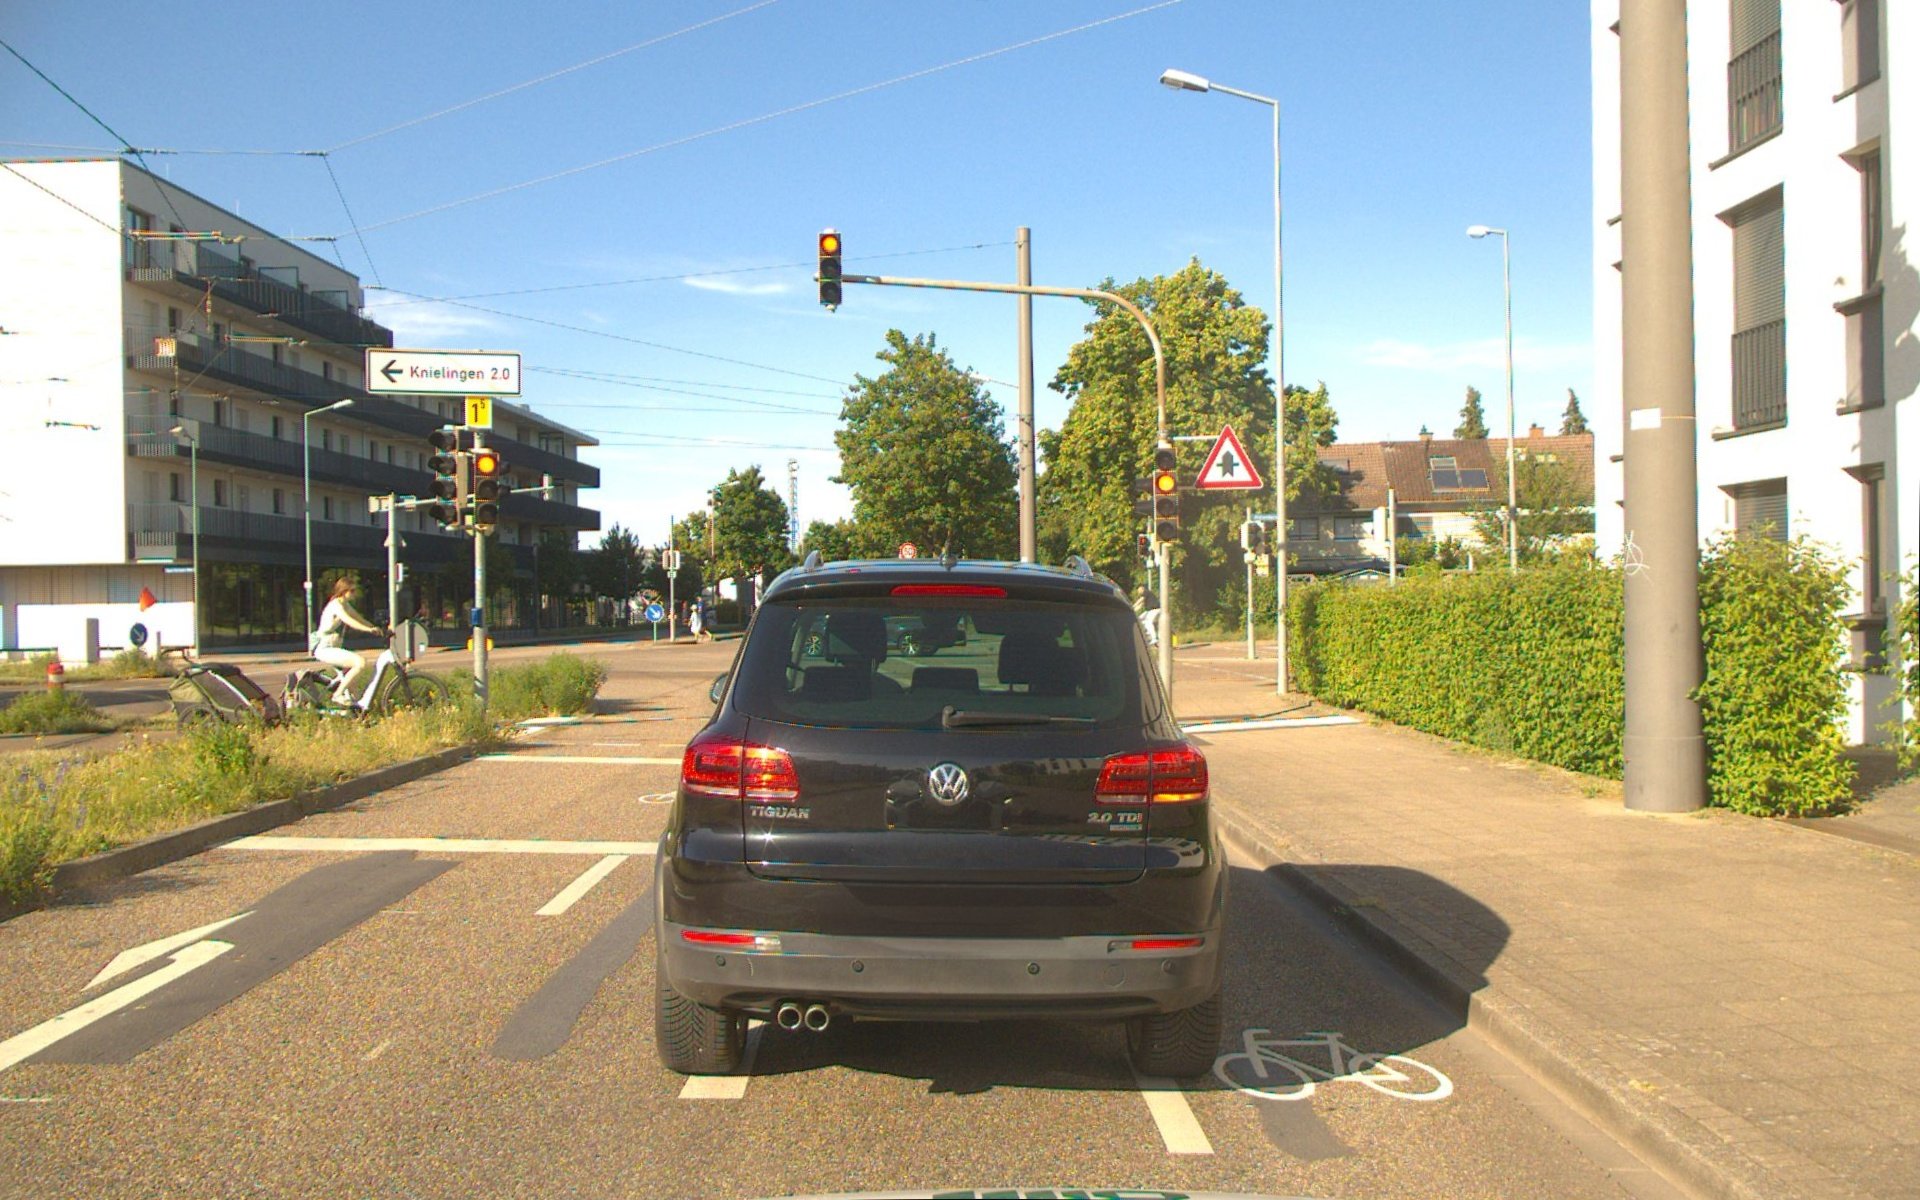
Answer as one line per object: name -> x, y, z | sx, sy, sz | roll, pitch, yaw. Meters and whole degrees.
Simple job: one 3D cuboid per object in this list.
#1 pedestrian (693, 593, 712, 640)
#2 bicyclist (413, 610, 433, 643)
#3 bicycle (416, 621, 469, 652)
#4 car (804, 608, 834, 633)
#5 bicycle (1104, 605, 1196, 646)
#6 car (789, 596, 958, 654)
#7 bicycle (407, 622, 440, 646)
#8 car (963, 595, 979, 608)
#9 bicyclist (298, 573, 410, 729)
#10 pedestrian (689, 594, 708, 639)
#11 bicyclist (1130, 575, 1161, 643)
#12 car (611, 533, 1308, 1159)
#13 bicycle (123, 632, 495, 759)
pedestrian -> -9.317, 0.596, 59.839 | 0.590, 1.668, 0.529 | 0, 0, 4
bicyclist -> -20.599, 1.008, 63.451 | 0.464, 1.245, 0.713 | 0, 0, 3
bicycle -> -19.533, 1.363, 62.445 | 0.947, 1.104, 1.834 | 0, 0, 23
car -> -9.824, 1.440, 115.239 | 1.621, 1.668, 4.001 | 0, 0, 1
bicycle -> 5.200, 0.688, 45.305 | 2.452, 1.078, 0.776 | 0, 0, 2
car -> -2.332, 0.674, 45.394 | 4.403, 1.530, 2.001 | 0, 0, 3
bicycle -> -20.576, 1.310, 63.514 | 0.485, 0.863, 2.079 | 0, 0, 3
car -> 1.297, 0.161, 196.266 | 1.716, 1.411, 3.998 | 0, 0, -2
bicyclist -> -6.631, 0.542, 18.147 | 0.892, 1.658, 0.975 | 0, 0, -4
pedestrian -> -9.369, 0.576, 59.264 | 0.590, 1.592, 0.529 | 0, 0, 4
bicyclist -> 5.088, 0.245, 45.335 | 0.786, 1.838, 0.684 | 0, 0, 3
car -> -0.063, 0.656, 6.454 | 1.867, 1.671, 3.998 | 0, 0, -2
bicycle -> -7.059, 1.030, 18.108 | 3.609, 1.195, 0.999 | 2, 0, -2
